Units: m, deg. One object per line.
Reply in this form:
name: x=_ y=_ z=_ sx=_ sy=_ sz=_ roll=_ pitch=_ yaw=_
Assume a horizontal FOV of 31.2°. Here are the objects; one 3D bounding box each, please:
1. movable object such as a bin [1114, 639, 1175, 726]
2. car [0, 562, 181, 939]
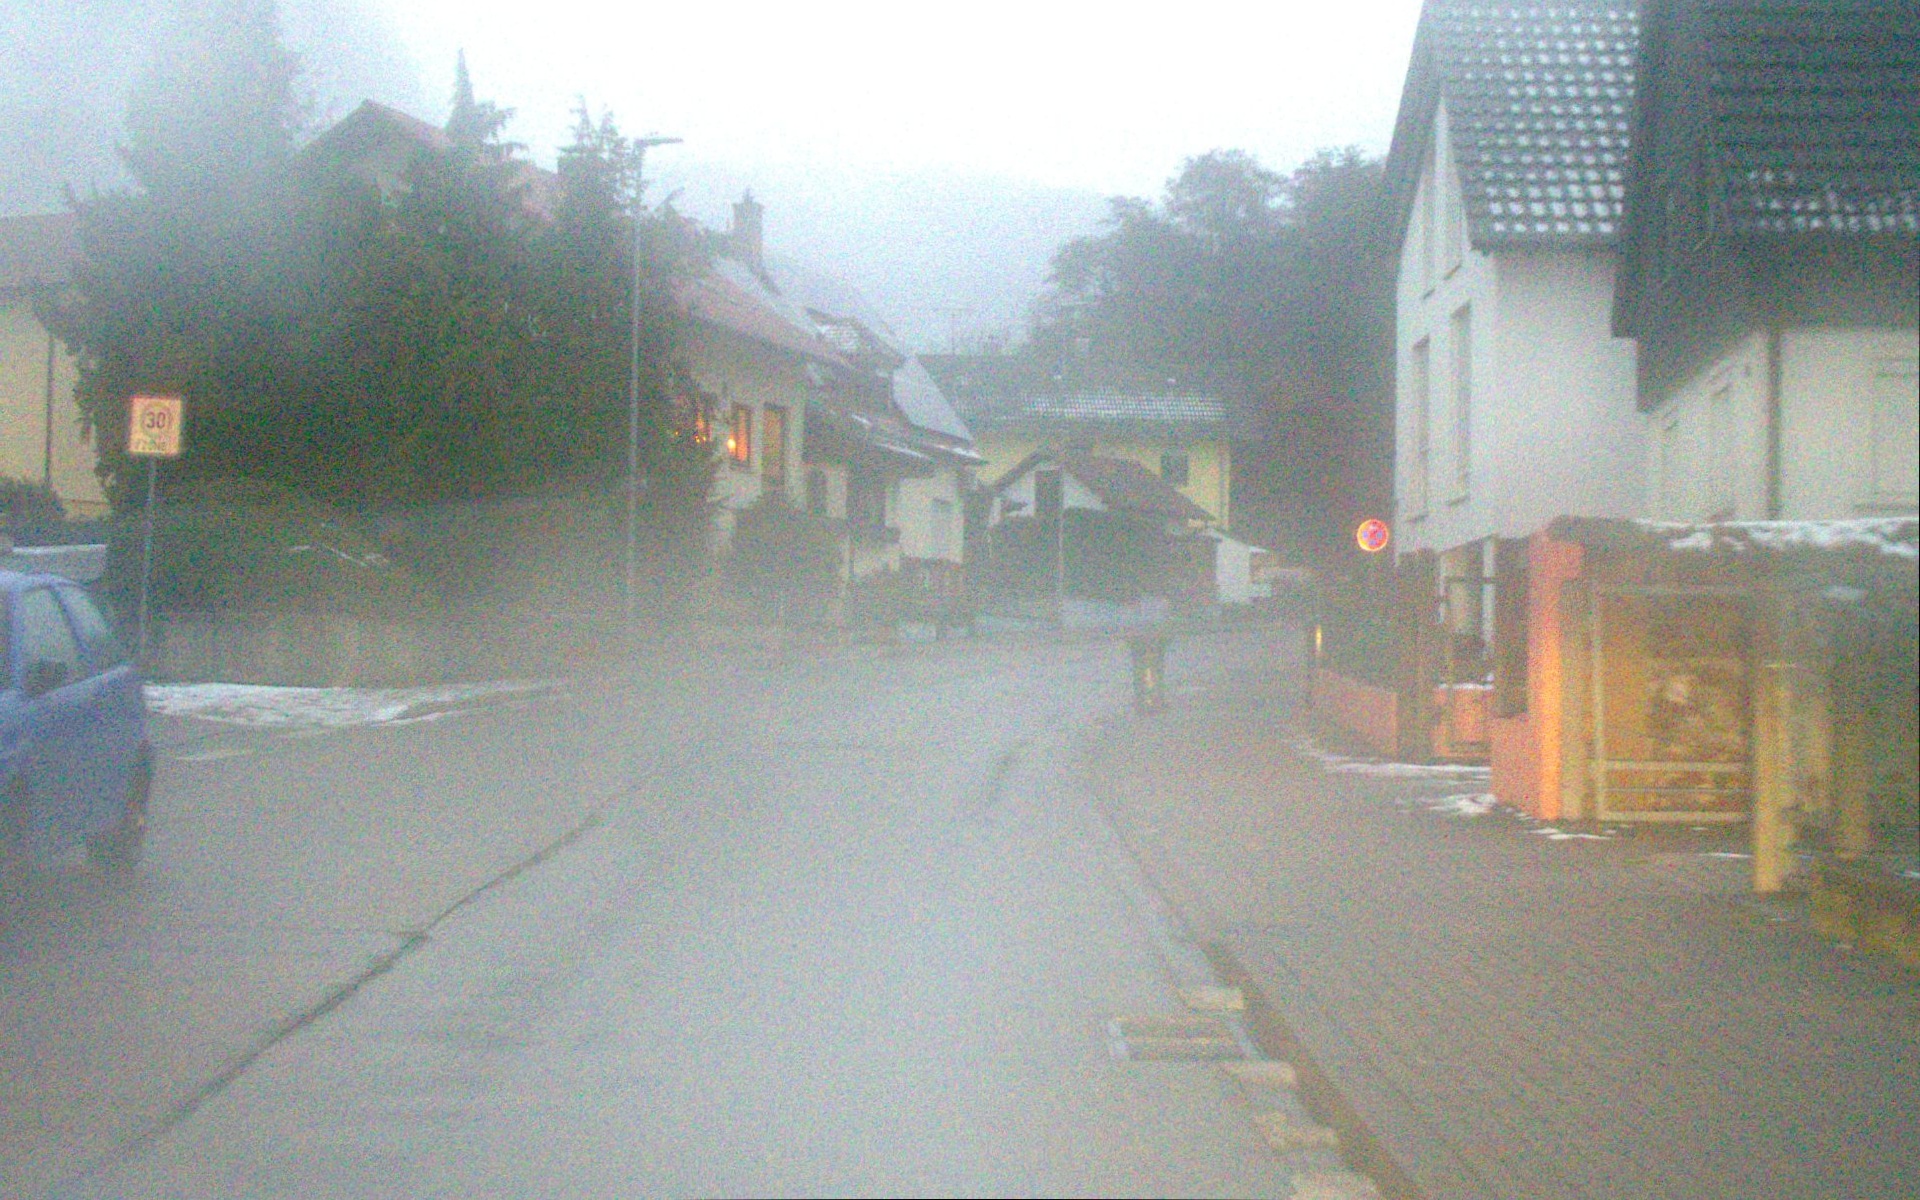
movable object such as a bin: x=2.071 y=0.932 z=38.625 sx=0.614 sy=0.943 sz=0.594 roll=-3 pitch=-2 yaw=6
car: x=-4.543 y=0.559 z=14.566 sx=1.667 sy=1.405 sz=3.914 roll=1 pitch=1 yaw=-1
